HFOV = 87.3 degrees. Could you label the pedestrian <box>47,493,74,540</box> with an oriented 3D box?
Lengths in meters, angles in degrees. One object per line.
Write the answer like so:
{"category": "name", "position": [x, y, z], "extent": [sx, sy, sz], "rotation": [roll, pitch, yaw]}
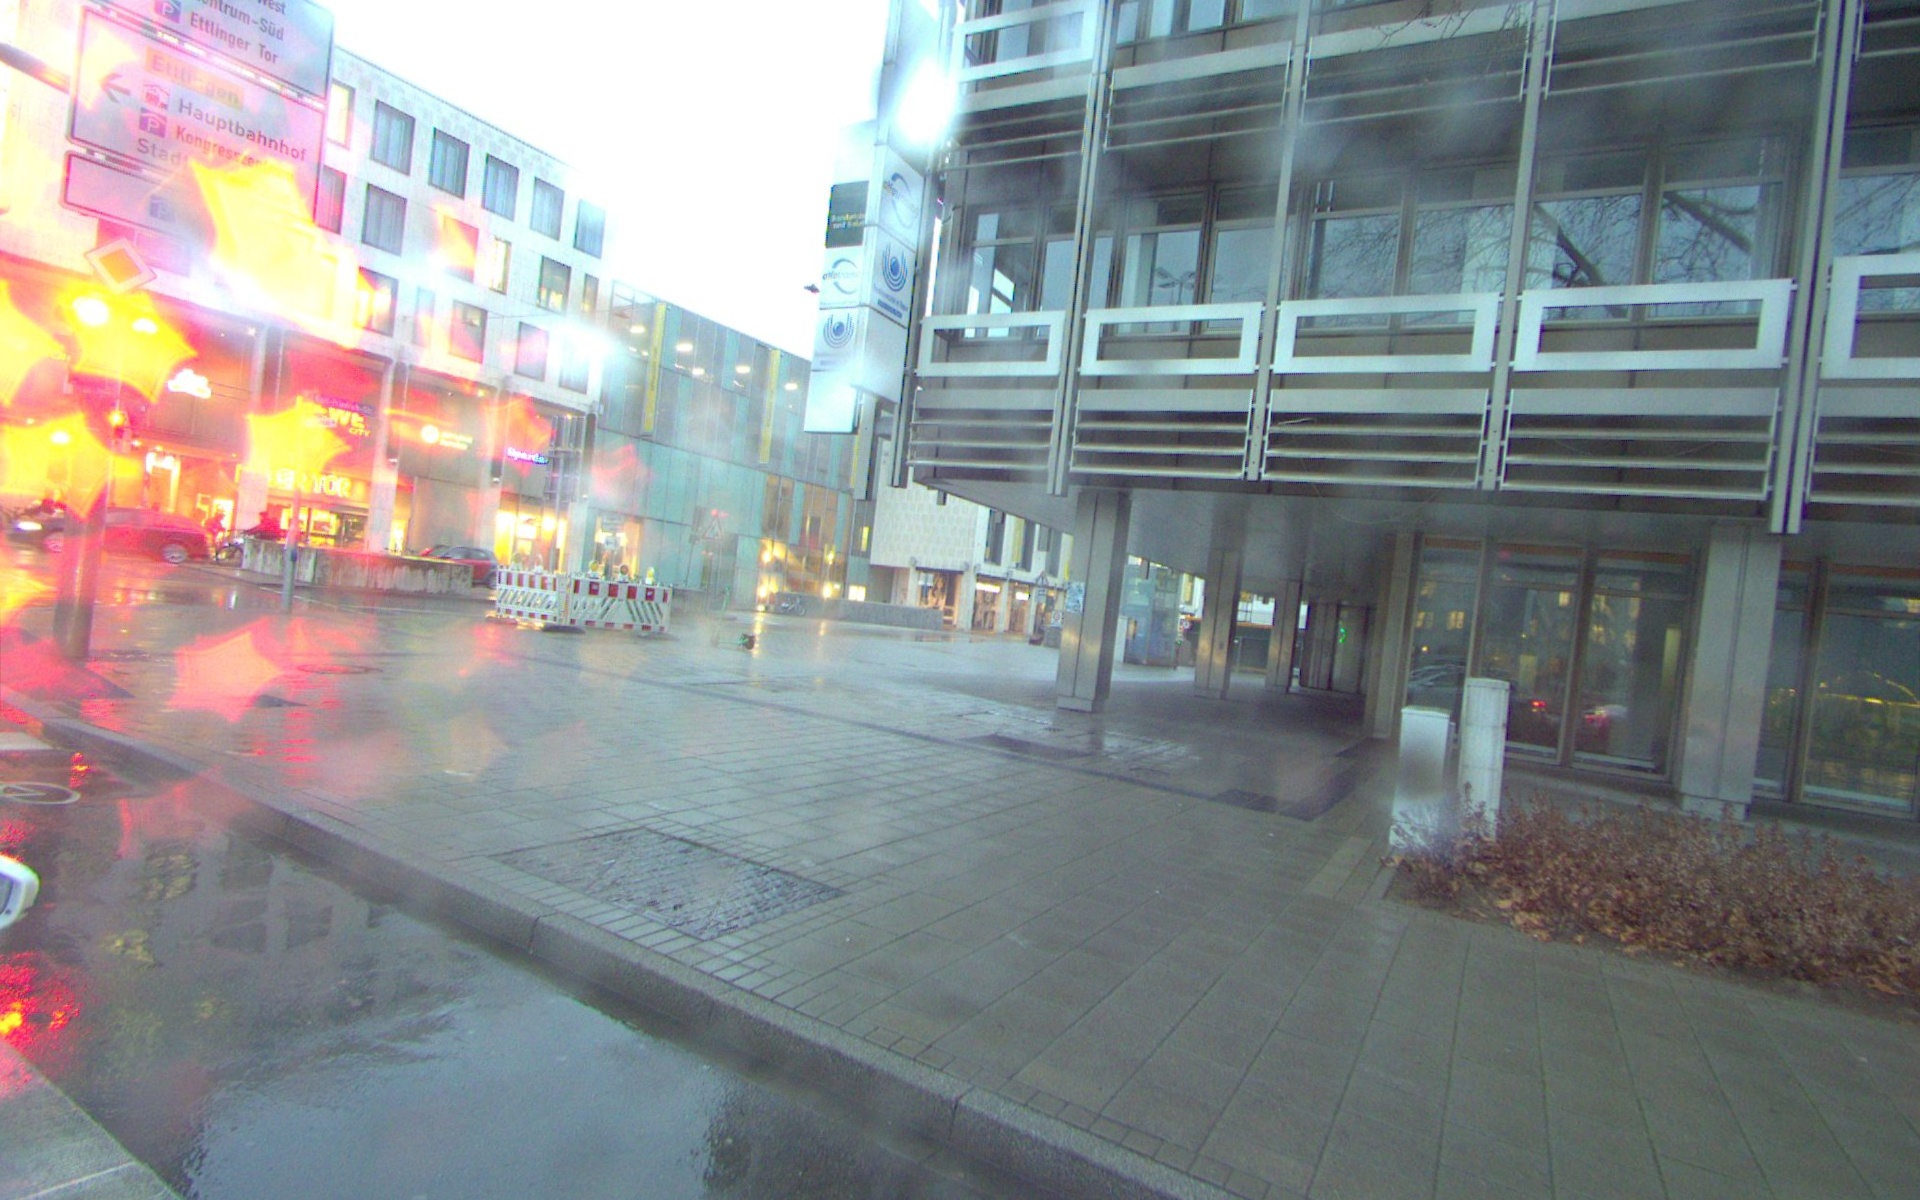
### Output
{"category": "pedestrian", "position": [-35.106, -3.250, 39.266], "extent": [0.529, 1.739, 0.500], "rotation": [6, 1, -21]}

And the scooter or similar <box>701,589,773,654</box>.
{"category": "scooter or similar", "position": [-4.476, 0.426, 20.165], "extent": [1.215, 1.144, 0.606], "rotation": [7, 0, 32]}

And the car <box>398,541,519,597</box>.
{"category": "car", "position": [-18.345, -1.098, 36.960], "extent": [1.648, 1.601, 3.575], "rotation": [6, -1, 29]}

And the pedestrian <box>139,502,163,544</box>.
{"category": "pedestrian", "position": [-35.381, -3.371, 43.992], "extent": [0.529, 1.739, 0.500], "rotation": [6, 1, -21]}

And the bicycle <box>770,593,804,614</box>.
{"category": "bicycle", "position": [-10.629, 0.195, 61.832], "extent": [2.101, 1.046, 0.616], "rotation": [6, 0, 33]}

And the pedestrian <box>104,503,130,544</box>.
{"category": "pedestrian", "position": [-33.768, -3.043, 40.289], "extent": [0.529, 1.562, 0.500], "rotation": [6, 1, -21]}

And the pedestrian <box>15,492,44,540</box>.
{"category": "pedestrian", "position": [-35.733, -3.207, 38.635], "extent": [0.529, 1.739, 0.500], "rotation": [6, 1, -21]}

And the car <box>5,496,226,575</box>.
{"category": "car", "position": [-24.188, -1.814, 28.965], "extent": [1.770, 1.593, 4.533], "rotation": [7, -1, 39]}

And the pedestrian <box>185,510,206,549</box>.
{"category": "pedestrian", "position": [-36.248, -3.332, 47.719], "extent": [0.529, 1.739, 0.500], "rotation": [6, 1, -21]}

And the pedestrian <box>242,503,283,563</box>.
{"category": "pedestrian", "position": [-20.130, -1.945, 29.026], "extent": [0.778, 1.615, 0.605], "rotation": [6, 1, -43]}

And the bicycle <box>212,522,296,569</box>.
{"category": "bicycle", "position": [-20.295, -1.556, 28.940], "extent": [1.839, 1.107, 0.610], "rotation": [7, 0, -44]}

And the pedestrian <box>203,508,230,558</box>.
{"category": "pedestrian", "position": [-26.916, -2.421, 36.426], "extent": [0.529, 1.706, 0.546], "rotation": [6, 1, -21]}

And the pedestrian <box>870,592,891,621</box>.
{"category": "pedestrian", "position": [-5.899, 0.474, 74.785], "extent": [1.006, 2.037, 0.906], "rotation": [6, -1, 31]}

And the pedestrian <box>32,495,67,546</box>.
{"category": "pedestrian", "position": [-34.441, -3.008, 38.048], "extent": [0.656, 1.782, 0.703], "rotation": [7, 1, 31]}

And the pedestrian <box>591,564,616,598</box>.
{"category": "pedestrian", "position": [-18.335, -0.970, 51.769], "extent": [0.697, 1.650, 0.795], "rotation": [6, -1, 31]}

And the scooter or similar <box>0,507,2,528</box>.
{"category": "scooter or similar", "position": [-34.592, -2.841, 35.687], "extent": [0.394, 1.005, 0.742], "rotation": [7, 0, 32]}

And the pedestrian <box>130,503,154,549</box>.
{"category": "pedestrian", "position": [-33.276, -2.994, 40.919], "extent": [0.368, 1.782, 0.512], "rotation": [7, 1, 31]}
